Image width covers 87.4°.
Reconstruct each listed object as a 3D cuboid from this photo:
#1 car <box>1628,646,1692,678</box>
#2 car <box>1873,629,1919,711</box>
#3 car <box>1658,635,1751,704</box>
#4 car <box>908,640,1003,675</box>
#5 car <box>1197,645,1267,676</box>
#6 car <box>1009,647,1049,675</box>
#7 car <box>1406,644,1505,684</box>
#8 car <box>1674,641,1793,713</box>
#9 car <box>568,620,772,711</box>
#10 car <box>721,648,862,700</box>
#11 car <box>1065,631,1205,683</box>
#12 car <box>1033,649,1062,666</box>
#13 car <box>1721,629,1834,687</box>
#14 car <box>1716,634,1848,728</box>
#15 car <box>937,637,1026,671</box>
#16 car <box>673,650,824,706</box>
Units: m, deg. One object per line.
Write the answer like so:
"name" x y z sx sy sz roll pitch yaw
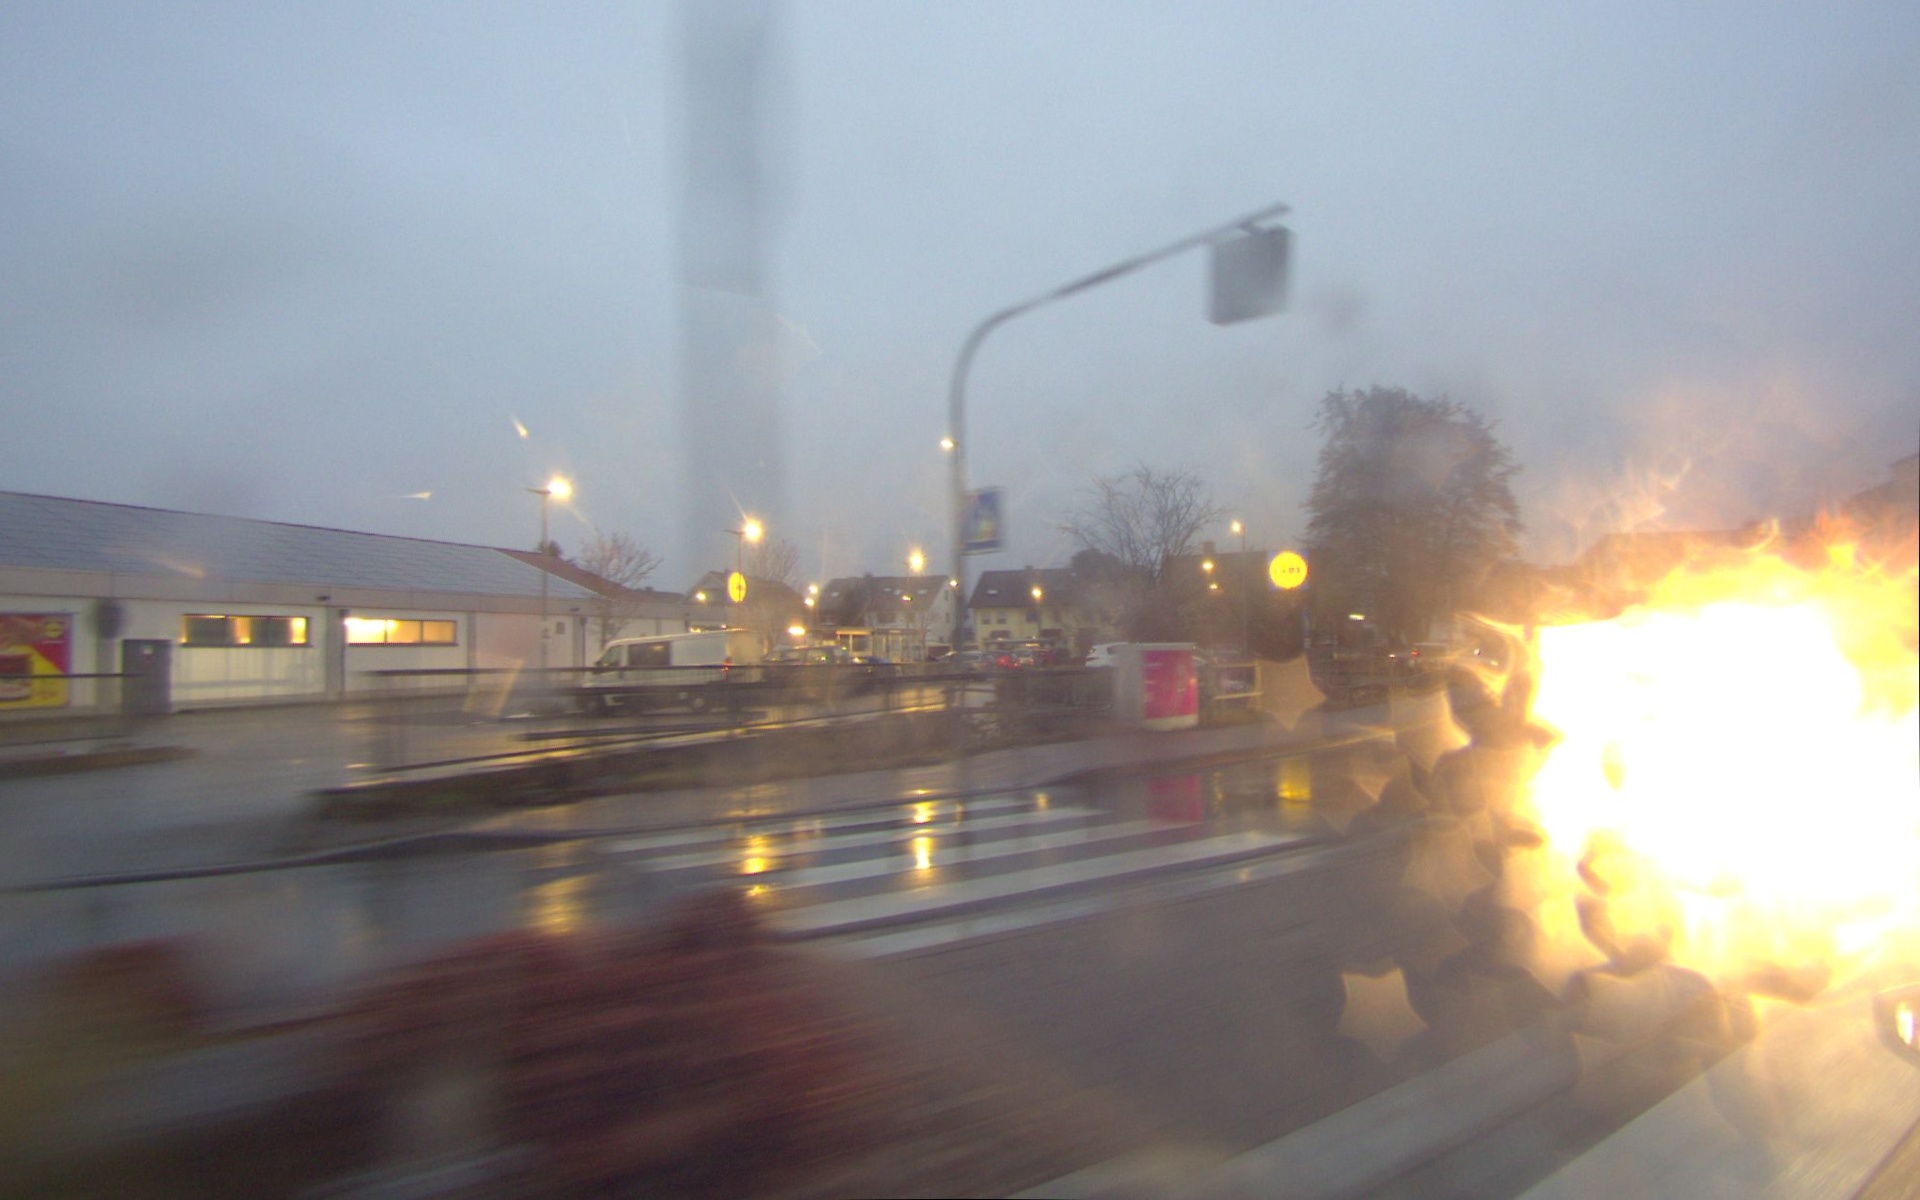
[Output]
"car" 32.921 2.900 47.355 1.814 1.349 3.934 -3 -3 26
"car" 21.283 1.450 21.586 1.832 1.669 3.989 -2 -3 34
"car" 20.462 1.850 27.767 1.747 1.746 4.410 -2 -3 33
"car" -0.212 2.923 51.146 4.357 1.583 2.056 -3 -2 18
"car" 18.875 4.191 69.850 4.567 2.003 2.129 0 -1 13
"car" 4.567 3.967 65.795 1.880 1.638 4.002 0 -1 15
"car" 24.346 3.122 49.508 4.157 1.721 1.900 1 -2 21
"car" 17.995 1.733 23.539 1.747 1.514 4.033 -2 -3 32
"car" -8.138 1.834 28.276 5.100 2.312 2.219 -3 -2 18
"car" -5.882 2.588 35.165 4.357 1.583 2.056 -3 -2 18
"car" 6.280 2.042 35.918 4.690 1.734 2.034 -2 -2 17
"car" 7.225 4.723 82.706 1.534 1.146 3.393 1 0 19
"car" 30.073 2.151 37.131 2.276 1.963 5.011 -3 -4 29
"car" 14.721 1.393 18.147 1.642 1.505 3.985 -2 -3 37
"car" 1.172 2.911 54.270 4.357 1.583 2.056 -3 -2 18
"car" -6.933 2.549 32.976 4.357 1.583 2.056 -3 -2 18
